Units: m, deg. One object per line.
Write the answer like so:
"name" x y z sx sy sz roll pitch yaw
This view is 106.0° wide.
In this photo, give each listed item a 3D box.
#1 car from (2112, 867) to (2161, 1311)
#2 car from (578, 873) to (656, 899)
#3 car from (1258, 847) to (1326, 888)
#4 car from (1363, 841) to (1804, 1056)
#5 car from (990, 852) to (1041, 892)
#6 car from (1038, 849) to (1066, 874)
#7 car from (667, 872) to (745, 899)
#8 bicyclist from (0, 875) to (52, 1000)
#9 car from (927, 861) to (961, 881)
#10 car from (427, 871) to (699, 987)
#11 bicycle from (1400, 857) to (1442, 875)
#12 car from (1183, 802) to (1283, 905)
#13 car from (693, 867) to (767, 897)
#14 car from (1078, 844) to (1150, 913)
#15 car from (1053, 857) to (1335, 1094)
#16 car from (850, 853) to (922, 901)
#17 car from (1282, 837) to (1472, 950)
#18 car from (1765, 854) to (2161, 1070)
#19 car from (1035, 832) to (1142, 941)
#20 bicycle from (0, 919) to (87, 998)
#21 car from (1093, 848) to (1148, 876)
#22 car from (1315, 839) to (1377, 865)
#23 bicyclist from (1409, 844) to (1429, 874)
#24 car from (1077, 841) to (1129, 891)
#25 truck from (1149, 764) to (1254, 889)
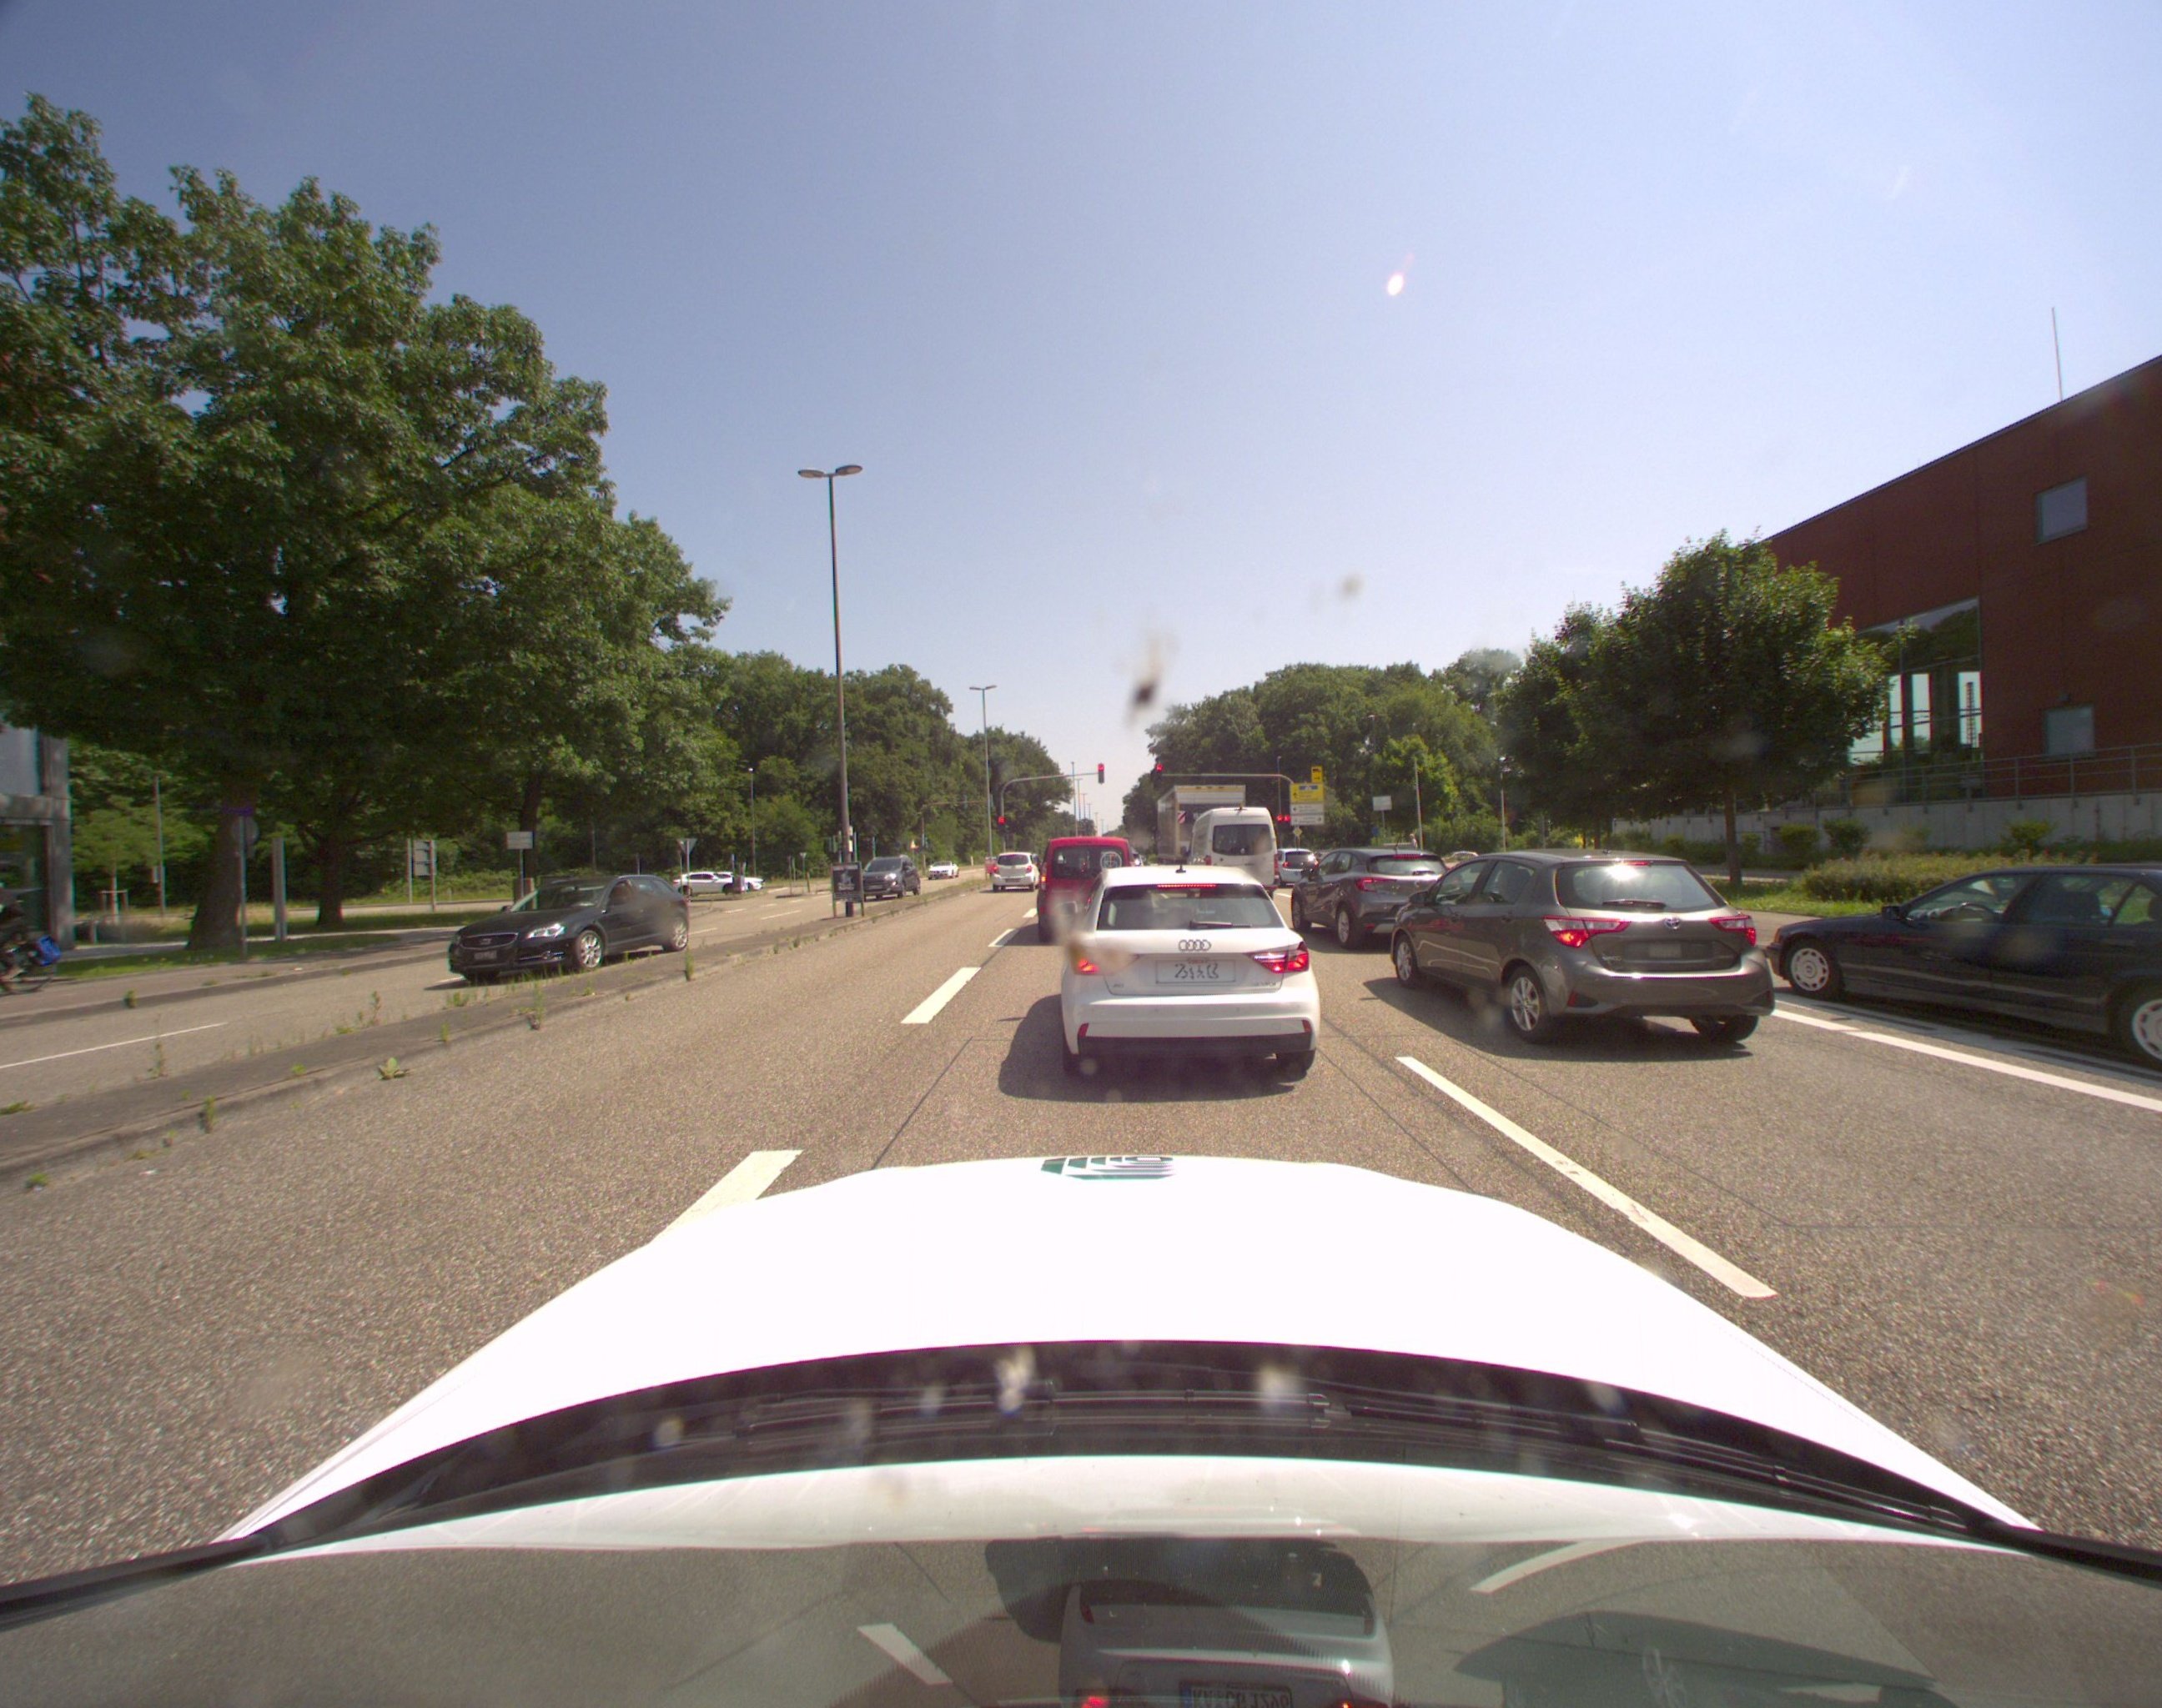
"car" 4.163 0.727 0.583 1.706 1.362 4.091 0 0 0
"car" -32.521 2.229 57.217 4.370 1.681 1.804 0 -1 -10
"car" 8.514 0.506 33.160 1.706 1.546 4.091 -1 0 0
"car" 4.283 0.666 7.826 1.706 1.478 4.091 1 0 0
"car" -2.572 0.677 32.821 1.706 1.492 4.091 -1 0 0
"car" -2.583 0.658 72.471 1.993 2.013 3.988 -2 0 -8
"car" -24.812 2.092 54.024 4.366 1.681 1.806 0 -1 -7
"bicyclist" -15.765 1.205 11.730 0.647 1.770 0.928 -2 0 1
"car" -10.415 1.252 62.004 1.712 1.262 4.302 -4 0 1
"car" -7.948 1.055 13.014 1.673 1.339 3.999 -5 0 0
"bicycle" 16.463 0.581 39.467 1.805 0.766 0.604 -2 0 22
"car" 4.253 -0.014 23.613 2.024 2.644 4.846 -1 0 1
"car" -24.896 1.988 57.848 4.366 1.681 1.806 -6 0 -7
"car" 0.808 0.579 21.780 1.706 1.631 4.091 -1 0 0
"car" 0.699 0.752 7.042 1.706 1.386 4.091 -1 0 0
"car" -7.436 0.848 31.422 1.681 1.600 3.884 -5 0 0
"car" 4.770 0.558 13.769 1.706 1.593 4.091 -1 0 0
"car" 7.866 0.706 6.397 1.631 1.371 4.148 0 0 2
"car" 0.125 0.519 15.293 1.706 1.748 4.091 -1 0 0
"bicycle" -15.755 1.542 11.664 0.652 1.051 1.885 -2 0 2
"car" 3.001 0.629 62.519 2.010 2.013 3.953 -2 0 -39
"car" 19.083 -0.171 58.750 3.962 1.689 1.884 -2 0 10
"bicyclist" 16.396 0.236 39.488 0.819 1.439 0.602 -2 0 23
"car" 0.750 0.395 29.572 1.706 1.631 4.091 -1 0 0
"truck" 4.814 -1.002 34.996 3.077 4.434 11.584 -1 0 2
